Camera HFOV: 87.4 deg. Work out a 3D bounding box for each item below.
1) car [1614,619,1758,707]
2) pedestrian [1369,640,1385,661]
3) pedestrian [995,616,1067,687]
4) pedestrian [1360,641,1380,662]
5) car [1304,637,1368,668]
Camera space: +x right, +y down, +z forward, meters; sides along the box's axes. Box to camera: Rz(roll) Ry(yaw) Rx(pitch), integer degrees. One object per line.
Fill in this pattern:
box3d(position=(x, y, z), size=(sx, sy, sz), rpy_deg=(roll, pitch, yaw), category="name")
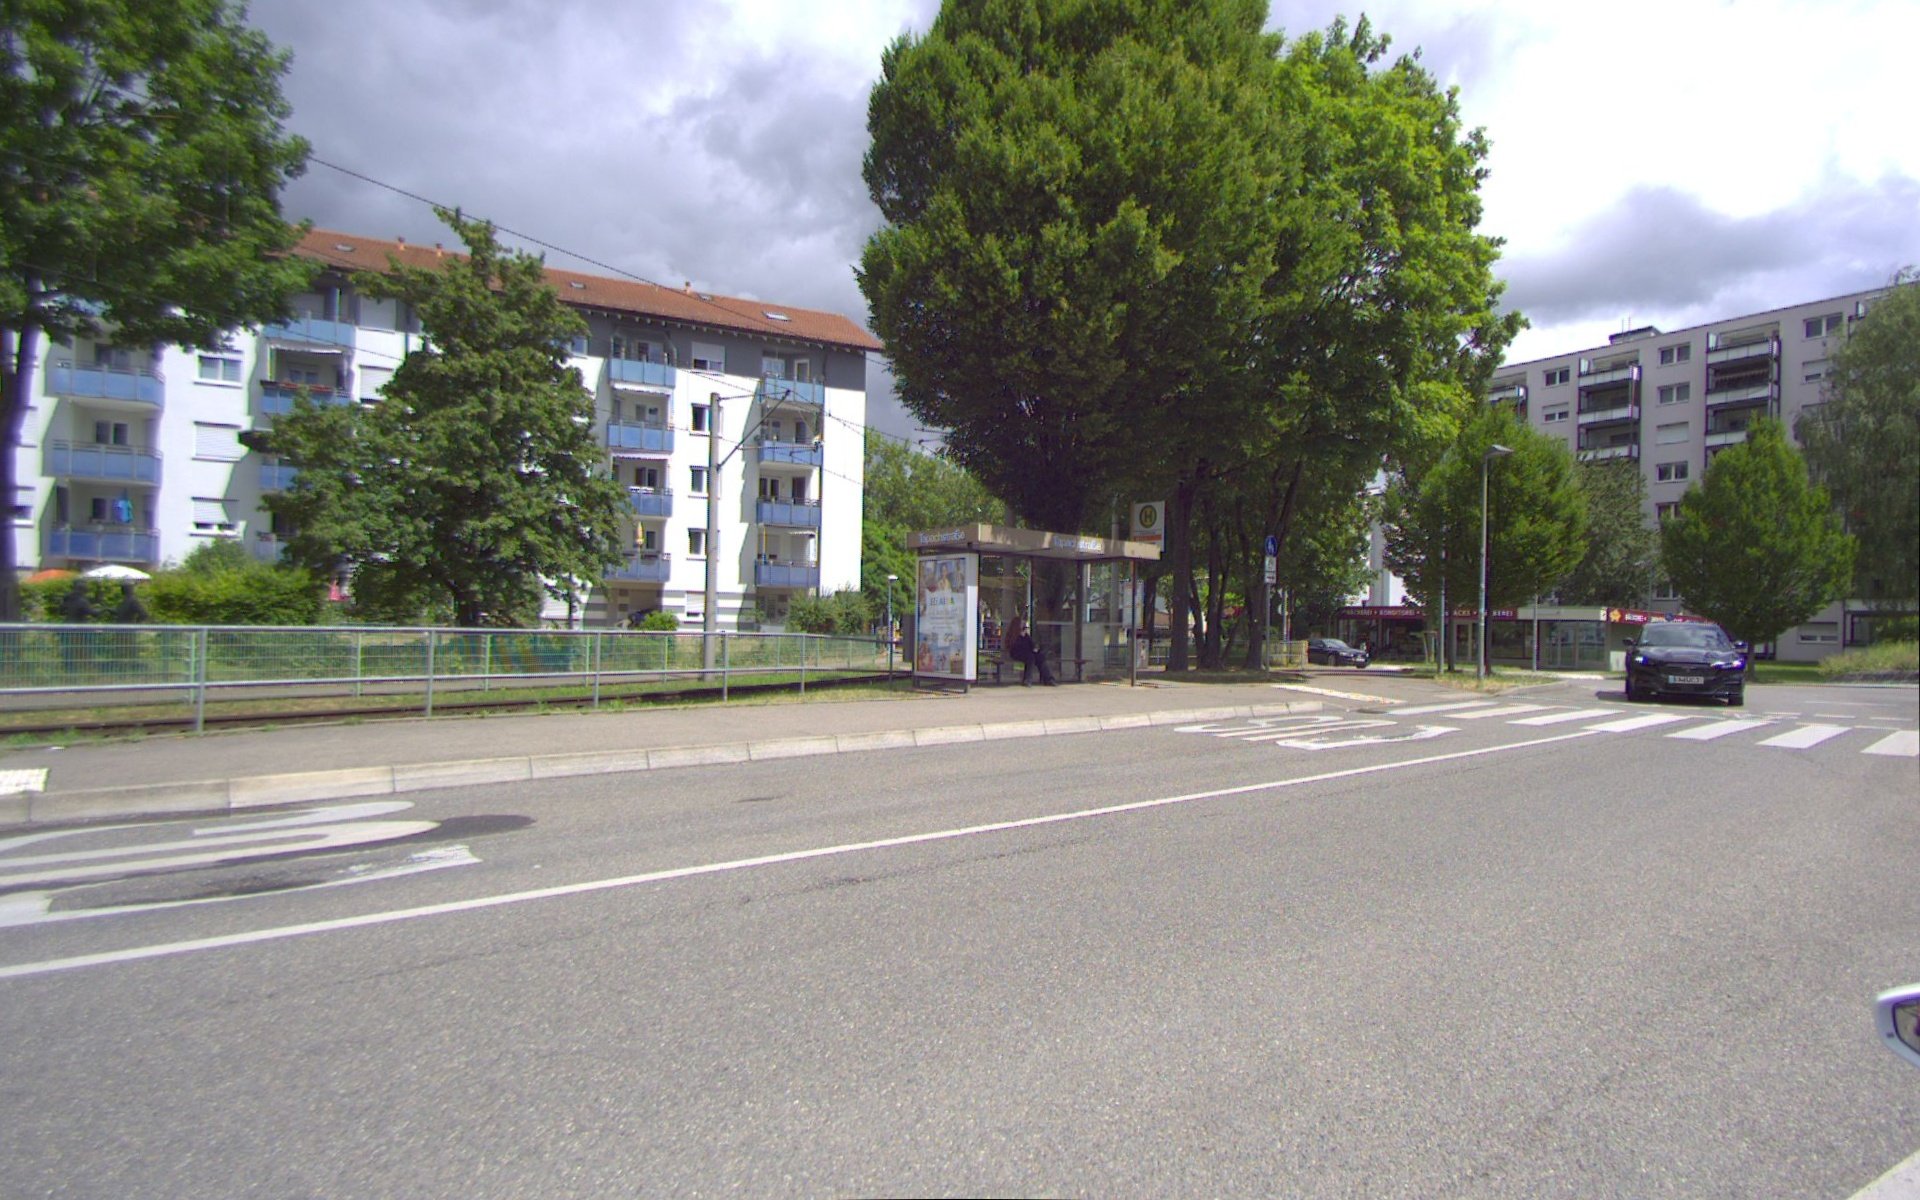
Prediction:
box3d(position=(14.751, 1.185, 20.659), size=(1.965, 1.546, 4.515), rpy_deg=(0, -1, 30), category="car")
box3d(position=(28.037, 3.371, 67.483), size=(0.710, 1.399, 0.694), rpy_deg=(2, -2, -25), category="pedestrian")
box3d(position=(1.201, 0.862, 17.002), size=(0.903, 1.150, 0.792), rpy_deg=(2, 0, -38), category="pedestrian")
box3d(position=(27.347, 3.443, 66.979), size=(0.871, 1.342, 0.815), rpy_deg=(2, 0, -32), category="pedestrian")
box3d(position=(18.157, 2.494, 48.728), size=(1.786, 1.402, 4.621), rpy_deg=(1, -2, 6), category="car")
